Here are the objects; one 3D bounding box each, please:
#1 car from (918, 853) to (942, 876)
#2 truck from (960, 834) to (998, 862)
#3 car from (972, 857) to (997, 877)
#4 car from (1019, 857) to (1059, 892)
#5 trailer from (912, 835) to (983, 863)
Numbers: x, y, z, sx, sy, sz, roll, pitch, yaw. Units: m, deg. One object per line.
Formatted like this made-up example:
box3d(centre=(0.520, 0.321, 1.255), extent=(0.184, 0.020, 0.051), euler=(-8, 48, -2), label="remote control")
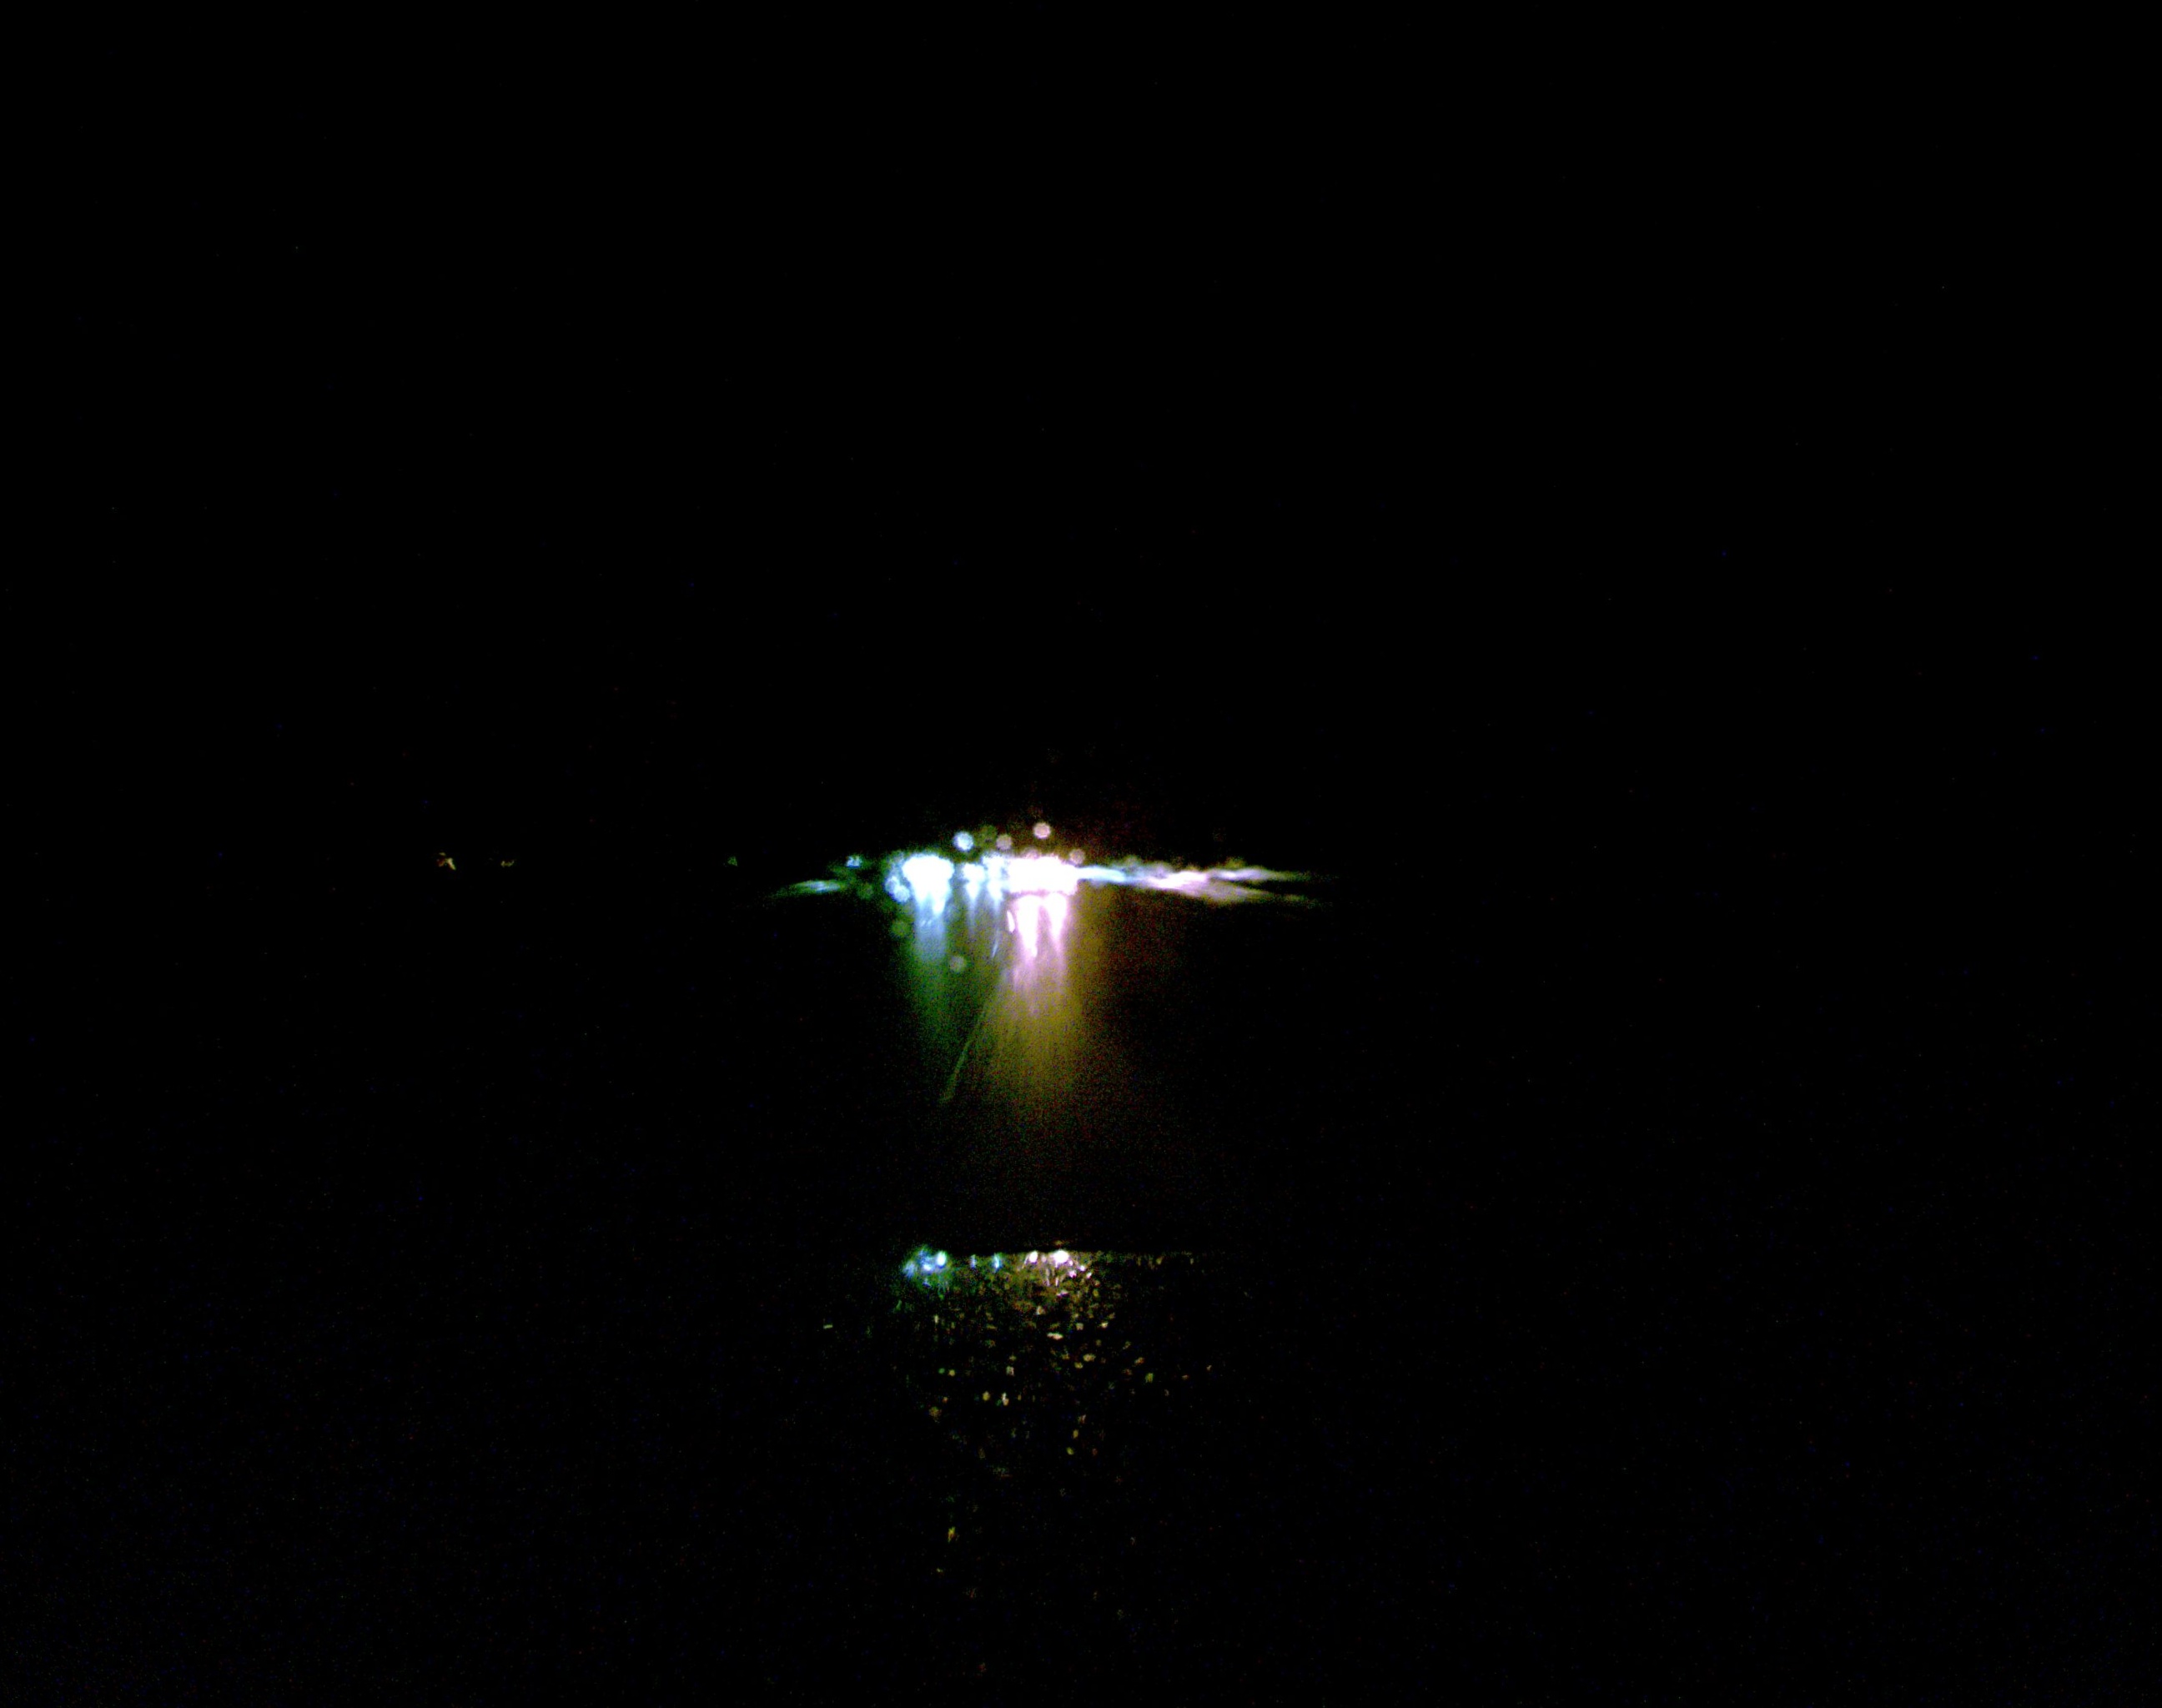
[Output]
box3d(centre=(-11.931, 0.810, 60.205), extent=(1.742, 1.674, 4.116), euler=(-2, 1, -10), label="car")
box3d(centre=(-16.345, -0.937, 121.419), extent=(5.548, 4.312, 2.544), euler=(-1, 2, 35), label="truck")
box3d(centre=(-7.254, 0.934, 57.167), extent=(1.761, 1.304, 4.082), euler=(-3, 1, -7), label="car")
box3d(centre=(-1.983, 0.917, 35.278), extent=(1.687, 1.442, 3.640), euler=(-2, 0, -5), label="car")
box3d(centre=(-22.224, -0.826, 125.612), extent=(13.671, 4.312, 2.544), euler=(-1, 2, 35), label="trailer")
